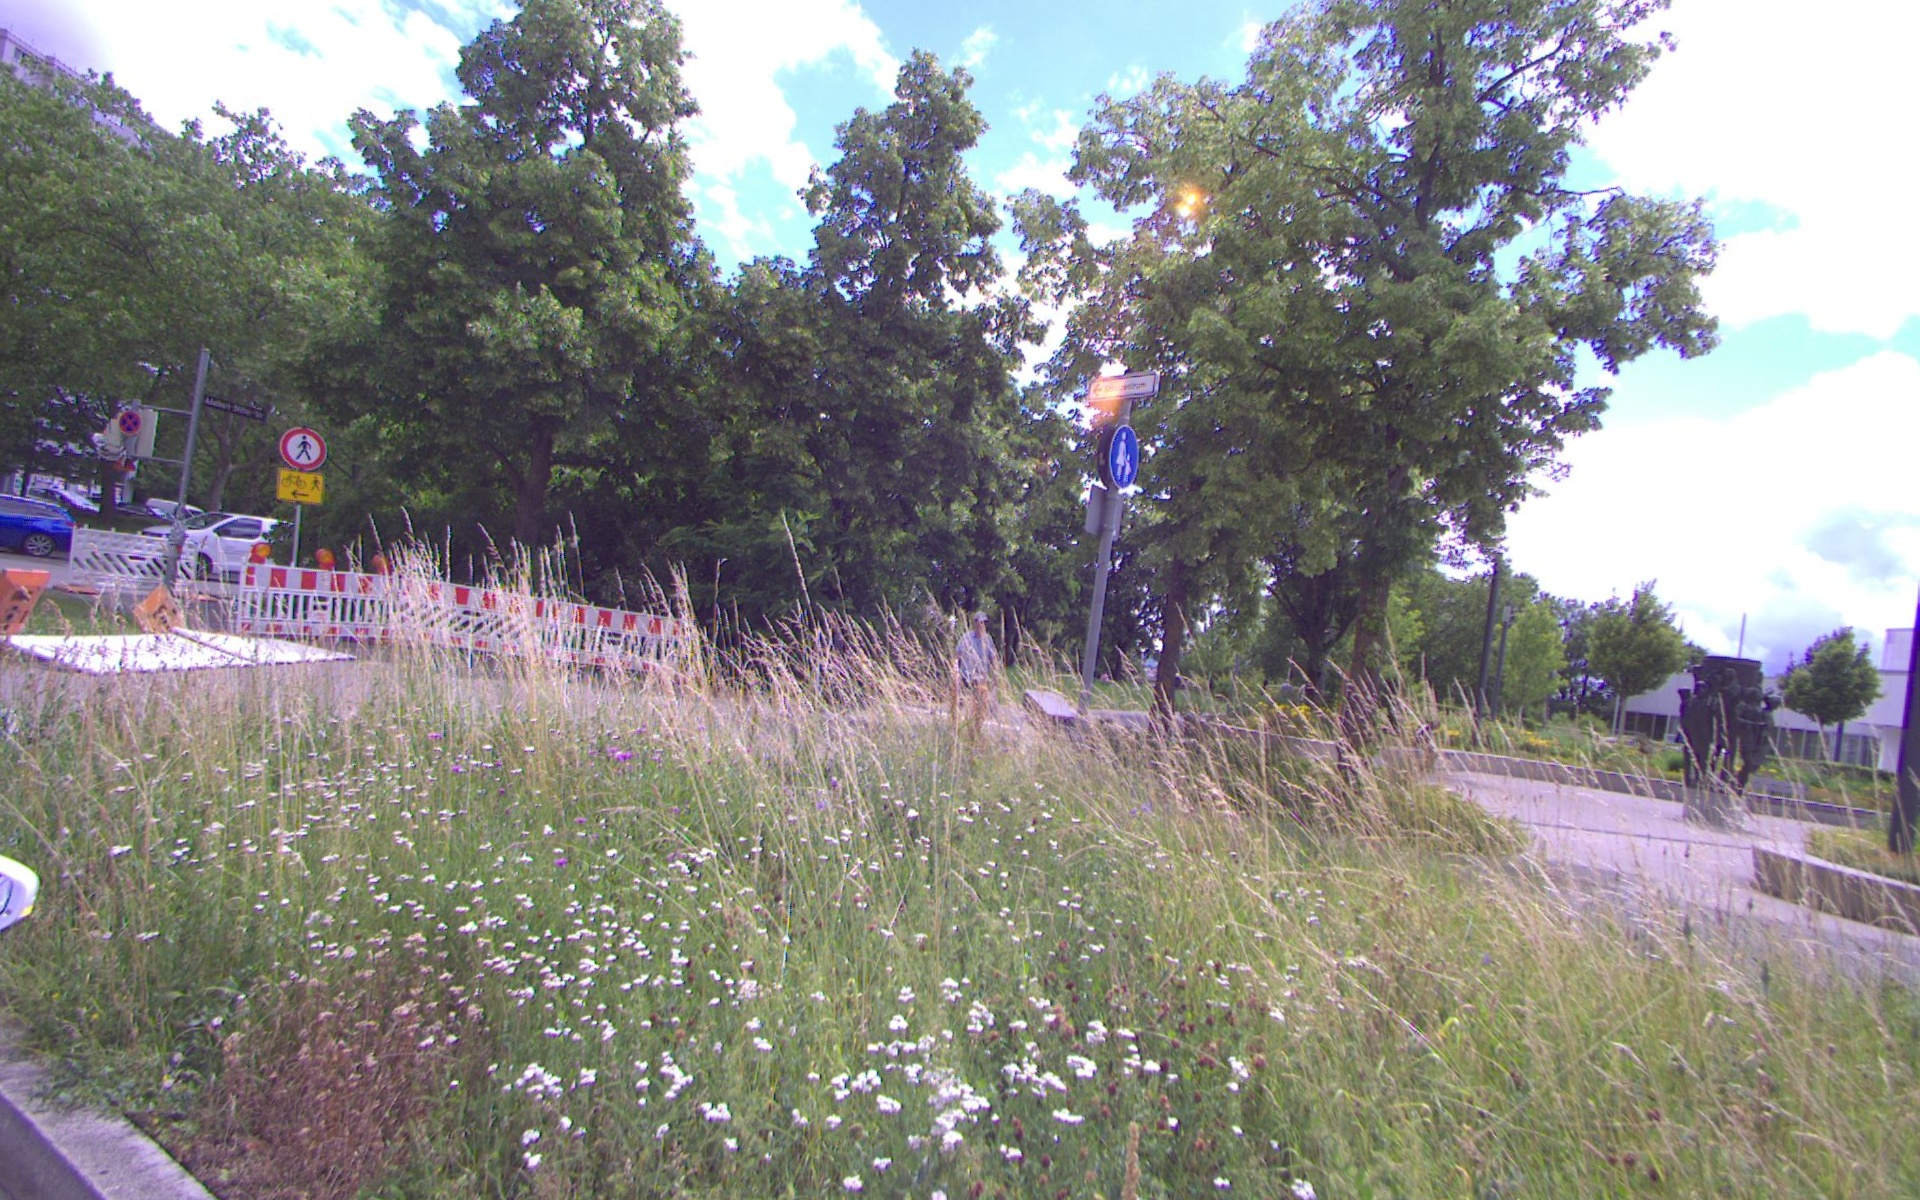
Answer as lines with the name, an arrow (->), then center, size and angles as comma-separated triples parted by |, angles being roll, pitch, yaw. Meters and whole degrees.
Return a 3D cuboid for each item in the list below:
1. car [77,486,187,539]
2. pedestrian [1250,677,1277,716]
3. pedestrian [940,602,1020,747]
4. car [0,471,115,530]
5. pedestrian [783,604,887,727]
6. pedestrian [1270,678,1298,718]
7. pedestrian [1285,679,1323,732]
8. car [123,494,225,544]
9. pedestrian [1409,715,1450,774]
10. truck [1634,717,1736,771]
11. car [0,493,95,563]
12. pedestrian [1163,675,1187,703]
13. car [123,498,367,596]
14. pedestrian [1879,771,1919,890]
car -> -43.791, -4.608, 53.286 | 3.926, 2.037, 2.001 | 8, -1, 0
pedestrian -> 14.301, 4.539, 47.402 | 0.872, 1.681, 0.817 | 8, -1, 30
pedestrian -> 0.260, 1.011, 13.858 | 0.759, 1.862, 0.764 | 8, -1, -9
car -> -43.697, -4.784, 48.570 | 3.926, 2.037, 2.001 | 8, -1, 0
pedestrian -> -1.749, 0.918, 14.105 | 0.831, 1.570, 0.945 | 7, -1, 40
pedestrian -> 15.104, 4.561, 46.900 | 0.879, 1.732, 0.817 | 8, -1, 30
pedestrian -> 14.410, 4.404, 42.162 | 1.137, 2.037, 0.817 | 8, 0, 30
car -> -44.246, -4.535, 56.689 | 3.926, 2.037, 2.001 | 8, -1, 0
pedestrian -> 10.792, 3.307, 23.133 | 0.623, 1.236, 0.618 | 7, -1, 36
truck -> 37.315, 7.390, 51.919 | 1.965, 2.037, 3.999 | 8, -1, -4
car -> -24.922, -2.058, 25.196 | 1.956, 1.503, 4.485 | 7, -2, 31
pedestrian -> 13.301, 5.526, 62.326 | 1.135, 1.571, 0.818 | 8, -1, -2
car -> -19.721, -1.390, 28.050 | 1.915, 1.895, 5.090 | 7, -2, 28
pedestrian -> 14.120, 3.391, 14.712 | 0.758, 1.644, 0.764 | 8, -1, -37
